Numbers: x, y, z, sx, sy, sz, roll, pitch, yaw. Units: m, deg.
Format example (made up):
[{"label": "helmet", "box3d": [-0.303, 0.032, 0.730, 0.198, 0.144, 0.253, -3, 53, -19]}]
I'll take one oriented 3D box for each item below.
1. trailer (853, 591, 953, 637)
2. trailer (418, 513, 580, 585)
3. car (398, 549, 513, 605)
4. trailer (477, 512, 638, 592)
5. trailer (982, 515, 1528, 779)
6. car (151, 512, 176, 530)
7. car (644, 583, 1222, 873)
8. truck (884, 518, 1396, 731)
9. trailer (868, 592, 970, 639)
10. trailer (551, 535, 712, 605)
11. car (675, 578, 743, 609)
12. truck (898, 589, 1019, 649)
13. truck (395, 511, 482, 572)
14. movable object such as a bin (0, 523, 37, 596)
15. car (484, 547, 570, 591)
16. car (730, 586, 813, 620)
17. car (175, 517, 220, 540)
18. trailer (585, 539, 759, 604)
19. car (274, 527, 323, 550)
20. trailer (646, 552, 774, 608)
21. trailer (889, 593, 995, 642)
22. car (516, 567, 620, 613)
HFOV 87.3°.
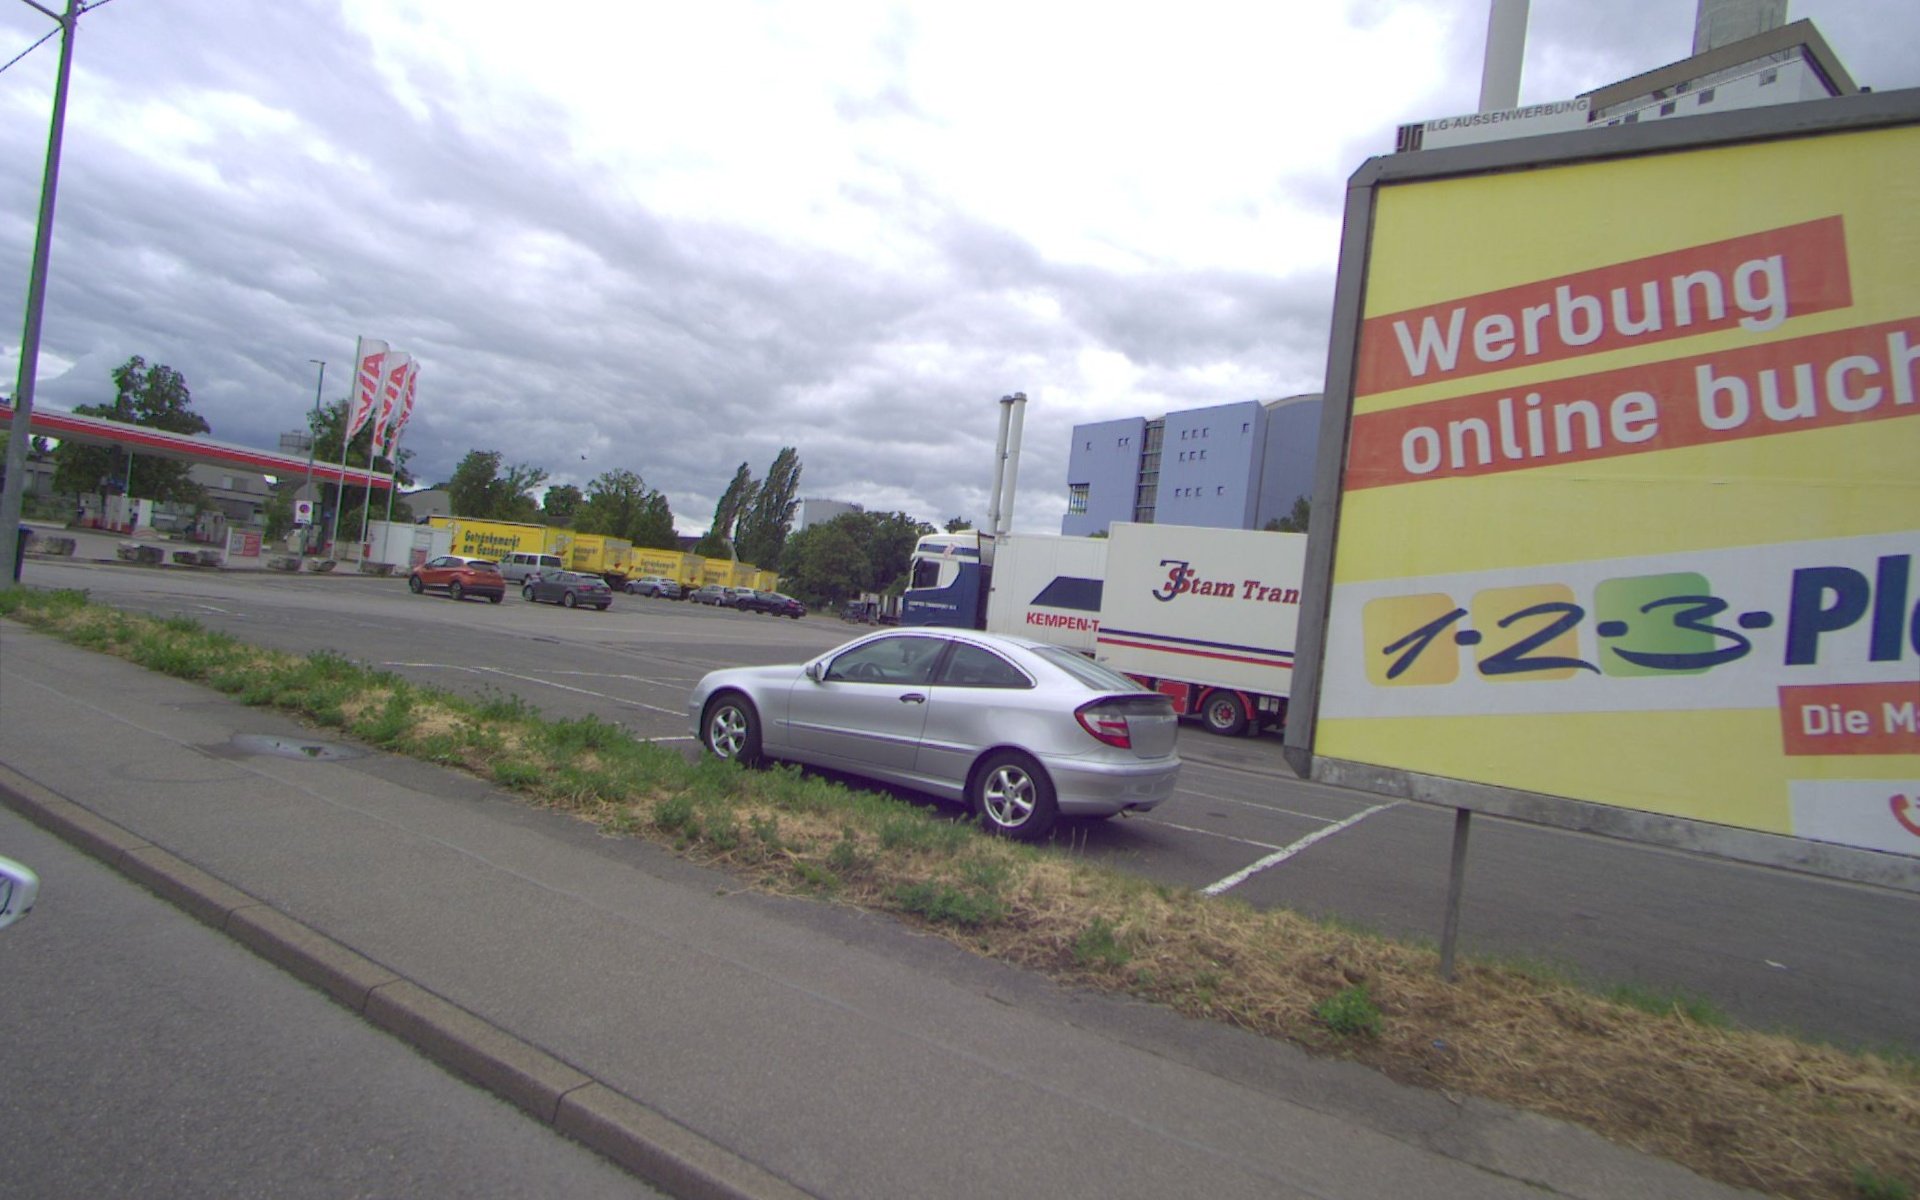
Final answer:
[{"label": "trailer", "box3d": [-7.182, 1.838, 128.980, 12.464, 4.353, 3.642, 8, -2, -34]}, {"label": "trailer", "box3d": [-33.877, -3.821, 73.450, 14.062, 3.963, 3.004, 6, 0, 31]}, {"label": "car", "box3d": [-18.700, -0.860, 37.251, 4.145, 1.591, 1.767, 6, 0, 31]}, {"label": "trailer", "box3d": [-30.638, -3.716, 76.069, 14.062, 4.781, 3.004, 6, 0, 31]}, {"label": "trailer", "box3d": [5.714, 0.638, 21.065, 10.239, 4.018, 2.957, 7, 1, 34]}, {"label": "car", "box3d": [-82.742, -8.178, 104.445, 1.896, 1.540, 4.019, 7, 0, -39]}, {"label": "car", "box3d": [-0.347, 0.886, 8.425, 4.484, 1.481, 1.776, 7, -1, 32]}, {"label": "truck", "box3d": [4.248, 0.343, 26.741, 12.852, 4.018, 3.077, 6, 1, 32]}, {"label": "trailer", "box3d": [-4.986, 1.985, 125.576, 12.464, 4.353, 3.527, 8, -2, -34]}, {"label": "trailer", "box3d": [-27.755, -2.600, 84.278, 15.461, 4.313, 3.024, 6, 0, 31]}, {"label": "car", "box3d": [-18.043, -0.488, 72.250, 4.611, 1.620, 1.987, 7, -1, 31]}, {"label": "truck", "box3d": [-0.024, 1.889, 97.921, 11.862, 4.341, 2.848, 8, -2, -33]}, {"label": "truck", "box3d": [-39.952, -4.489, 77.069, 5.939, 3.963, 2.961, 6, 0, 31]}, {"label": "movable object such as a bin", "box3d": [-15.379, -0.674, 16.025, 0.651, 1.094, 0.716, 7, 0, 25]}, {"label": "car", "box3d": [-25.484, -1.830, 59.162, 4.868, 1.935, 1.986, 7, -1, 31]}, {"label": "car", "box3d": [-11.172, 0.149, 59.612, 4.606, 1.385, 1.987, 7, -1, 31]}, {"label": "car", "box3d": [-65.709, -6.176, 86.675, 3.820, 1.549, 1.734, 6, 0, 32]}, {"label": "trailer", "box3d": [-25.167, -2.560, 86.984, 17.768, 3.963, 2.694, 6, 0, 31]}, {"label": "car", "box3d": [-61.830, -5.755, 94.036, 4.576, 1.665, 1.965, 6, 0, 31]}, {"label": "trailer", "box3d": [-23.901, -1.961, 95.474, 13.459, 3.963, 2.694, 6, 0, 31]}, {"label": "trailer", "box3d": [-2.047, 2.131, 119.792, 12.464, 4.353, 3.527, 8, -2, -34]}, {"label": "car", "box3d": [-16.159, -0.416, 41.402, 4.145, 1.408, 1.766, 6, 1, 31]}]
